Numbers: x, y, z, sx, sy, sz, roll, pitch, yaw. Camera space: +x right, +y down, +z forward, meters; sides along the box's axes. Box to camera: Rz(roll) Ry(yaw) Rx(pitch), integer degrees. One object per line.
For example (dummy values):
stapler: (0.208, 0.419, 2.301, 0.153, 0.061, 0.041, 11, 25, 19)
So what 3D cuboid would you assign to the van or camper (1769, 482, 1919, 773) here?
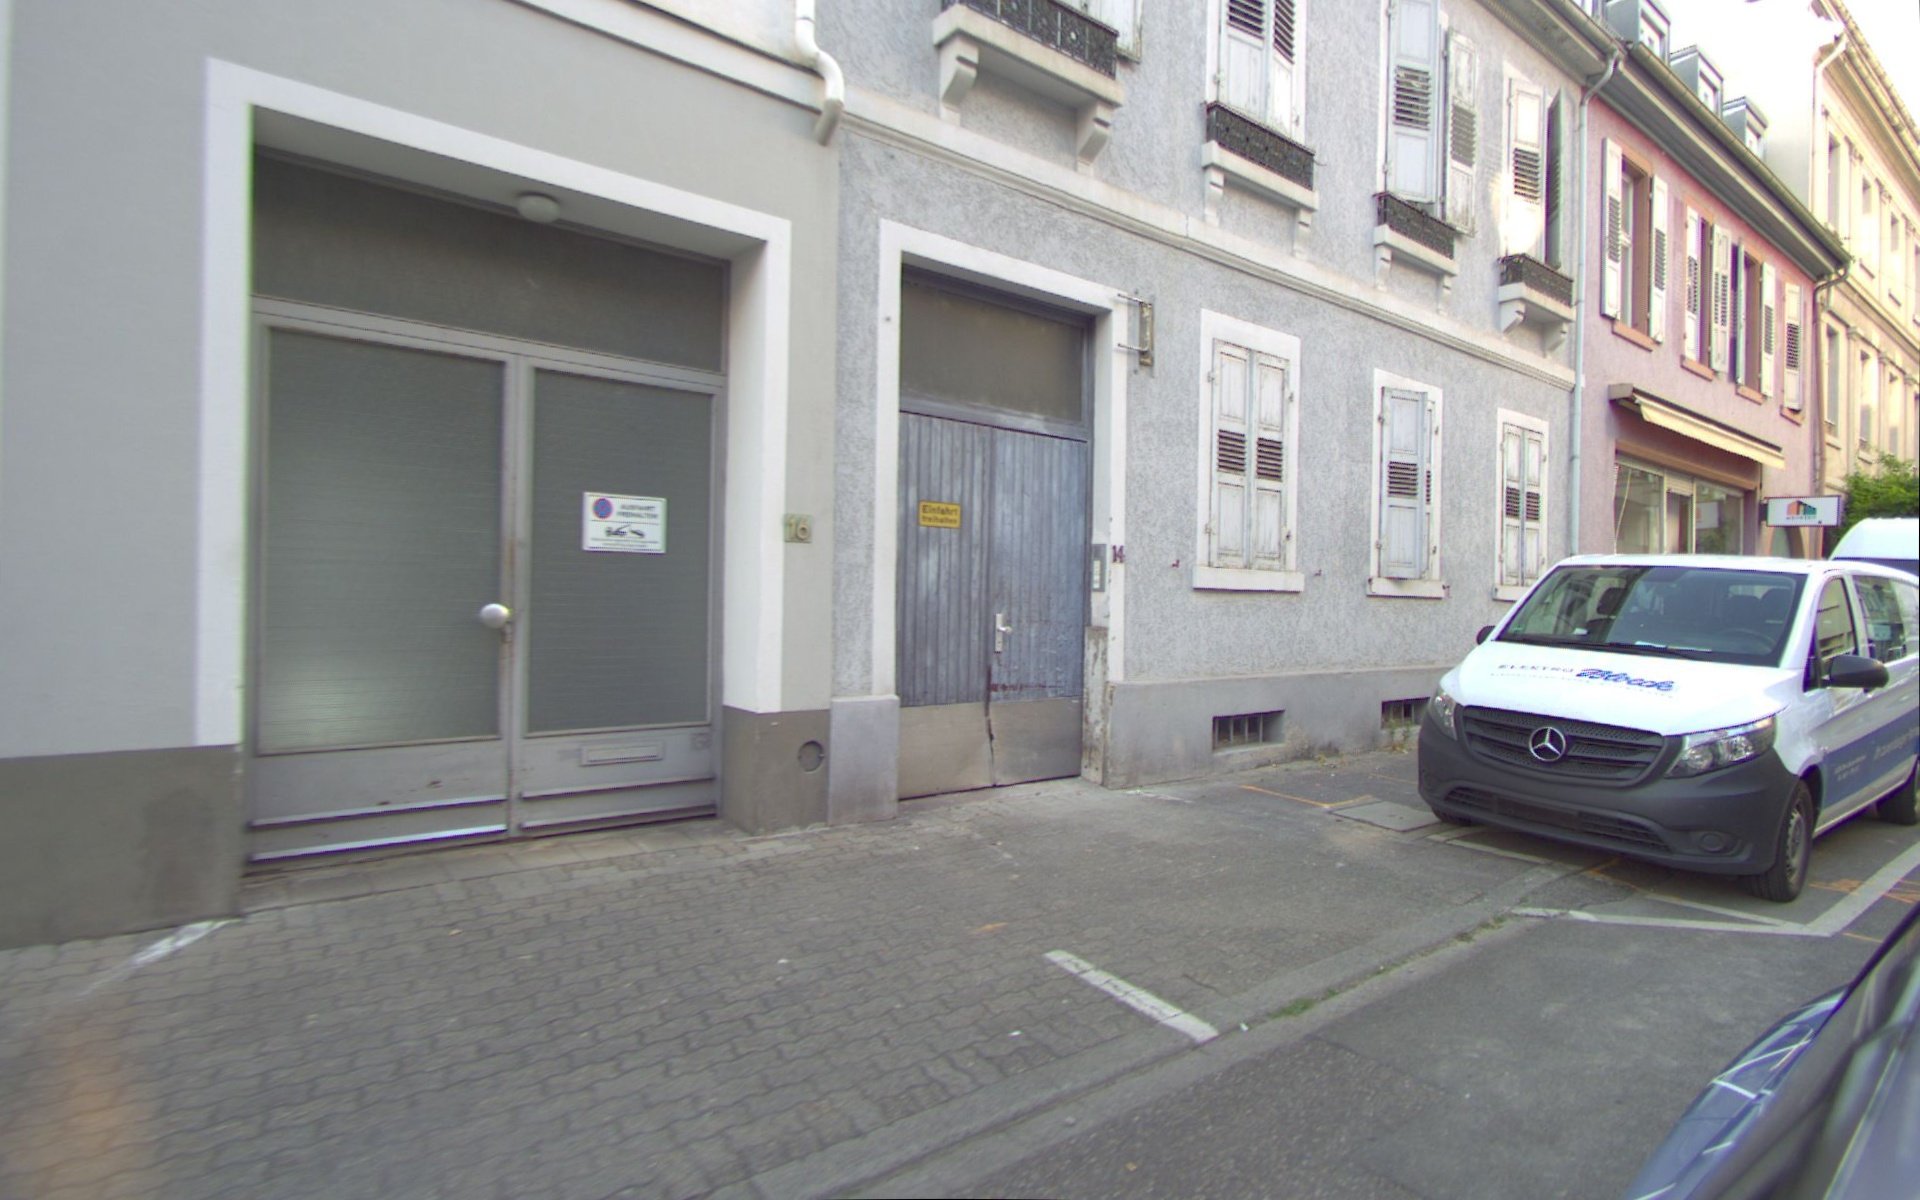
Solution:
van or camper: (11.521, 0.296, 11.452, 6.931, 2.671, 2.056, 1, 0, -37)

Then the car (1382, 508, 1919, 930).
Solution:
car: (5.246, 0.492, 6.969, 5.220, 1.917, 1.947, 1, 4, -38)
